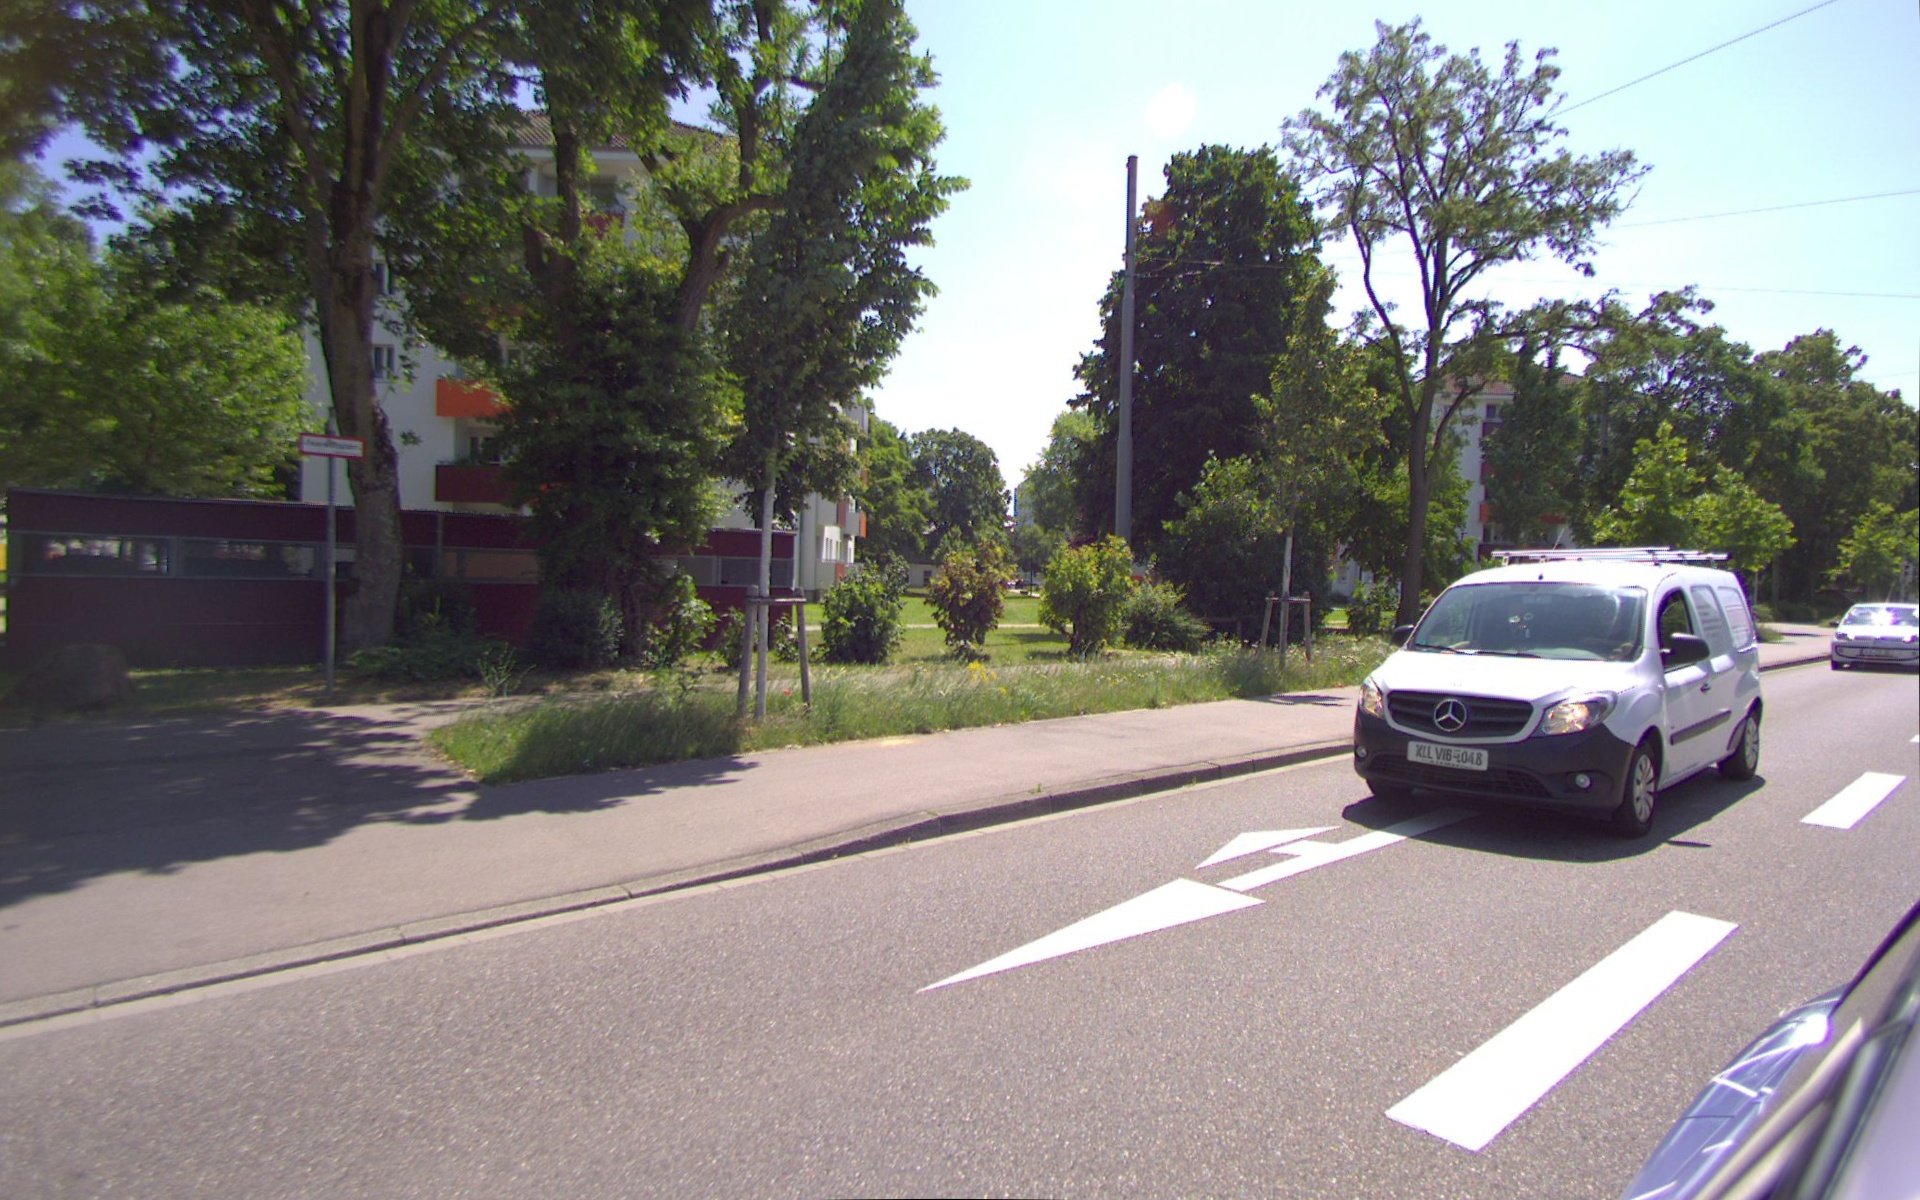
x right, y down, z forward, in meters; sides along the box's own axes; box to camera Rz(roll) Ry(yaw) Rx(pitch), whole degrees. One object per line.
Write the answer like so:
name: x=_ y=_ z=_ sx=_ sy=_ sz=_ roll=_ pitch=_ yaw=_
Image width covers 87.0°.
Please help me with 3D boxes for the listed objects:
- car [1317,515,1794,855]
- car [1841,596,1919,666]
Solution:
car: x=4.905 y=0.463 z=7.942 sx=4.994 sy=1.879 sz=1.807 roll=0 pitch=0 yaw=-42
car: x=20.870 y=0.638 z=22.475 sx=3.439 sy=1.459 sz=1.624 roll=0 pitch=0 yaw=-43
